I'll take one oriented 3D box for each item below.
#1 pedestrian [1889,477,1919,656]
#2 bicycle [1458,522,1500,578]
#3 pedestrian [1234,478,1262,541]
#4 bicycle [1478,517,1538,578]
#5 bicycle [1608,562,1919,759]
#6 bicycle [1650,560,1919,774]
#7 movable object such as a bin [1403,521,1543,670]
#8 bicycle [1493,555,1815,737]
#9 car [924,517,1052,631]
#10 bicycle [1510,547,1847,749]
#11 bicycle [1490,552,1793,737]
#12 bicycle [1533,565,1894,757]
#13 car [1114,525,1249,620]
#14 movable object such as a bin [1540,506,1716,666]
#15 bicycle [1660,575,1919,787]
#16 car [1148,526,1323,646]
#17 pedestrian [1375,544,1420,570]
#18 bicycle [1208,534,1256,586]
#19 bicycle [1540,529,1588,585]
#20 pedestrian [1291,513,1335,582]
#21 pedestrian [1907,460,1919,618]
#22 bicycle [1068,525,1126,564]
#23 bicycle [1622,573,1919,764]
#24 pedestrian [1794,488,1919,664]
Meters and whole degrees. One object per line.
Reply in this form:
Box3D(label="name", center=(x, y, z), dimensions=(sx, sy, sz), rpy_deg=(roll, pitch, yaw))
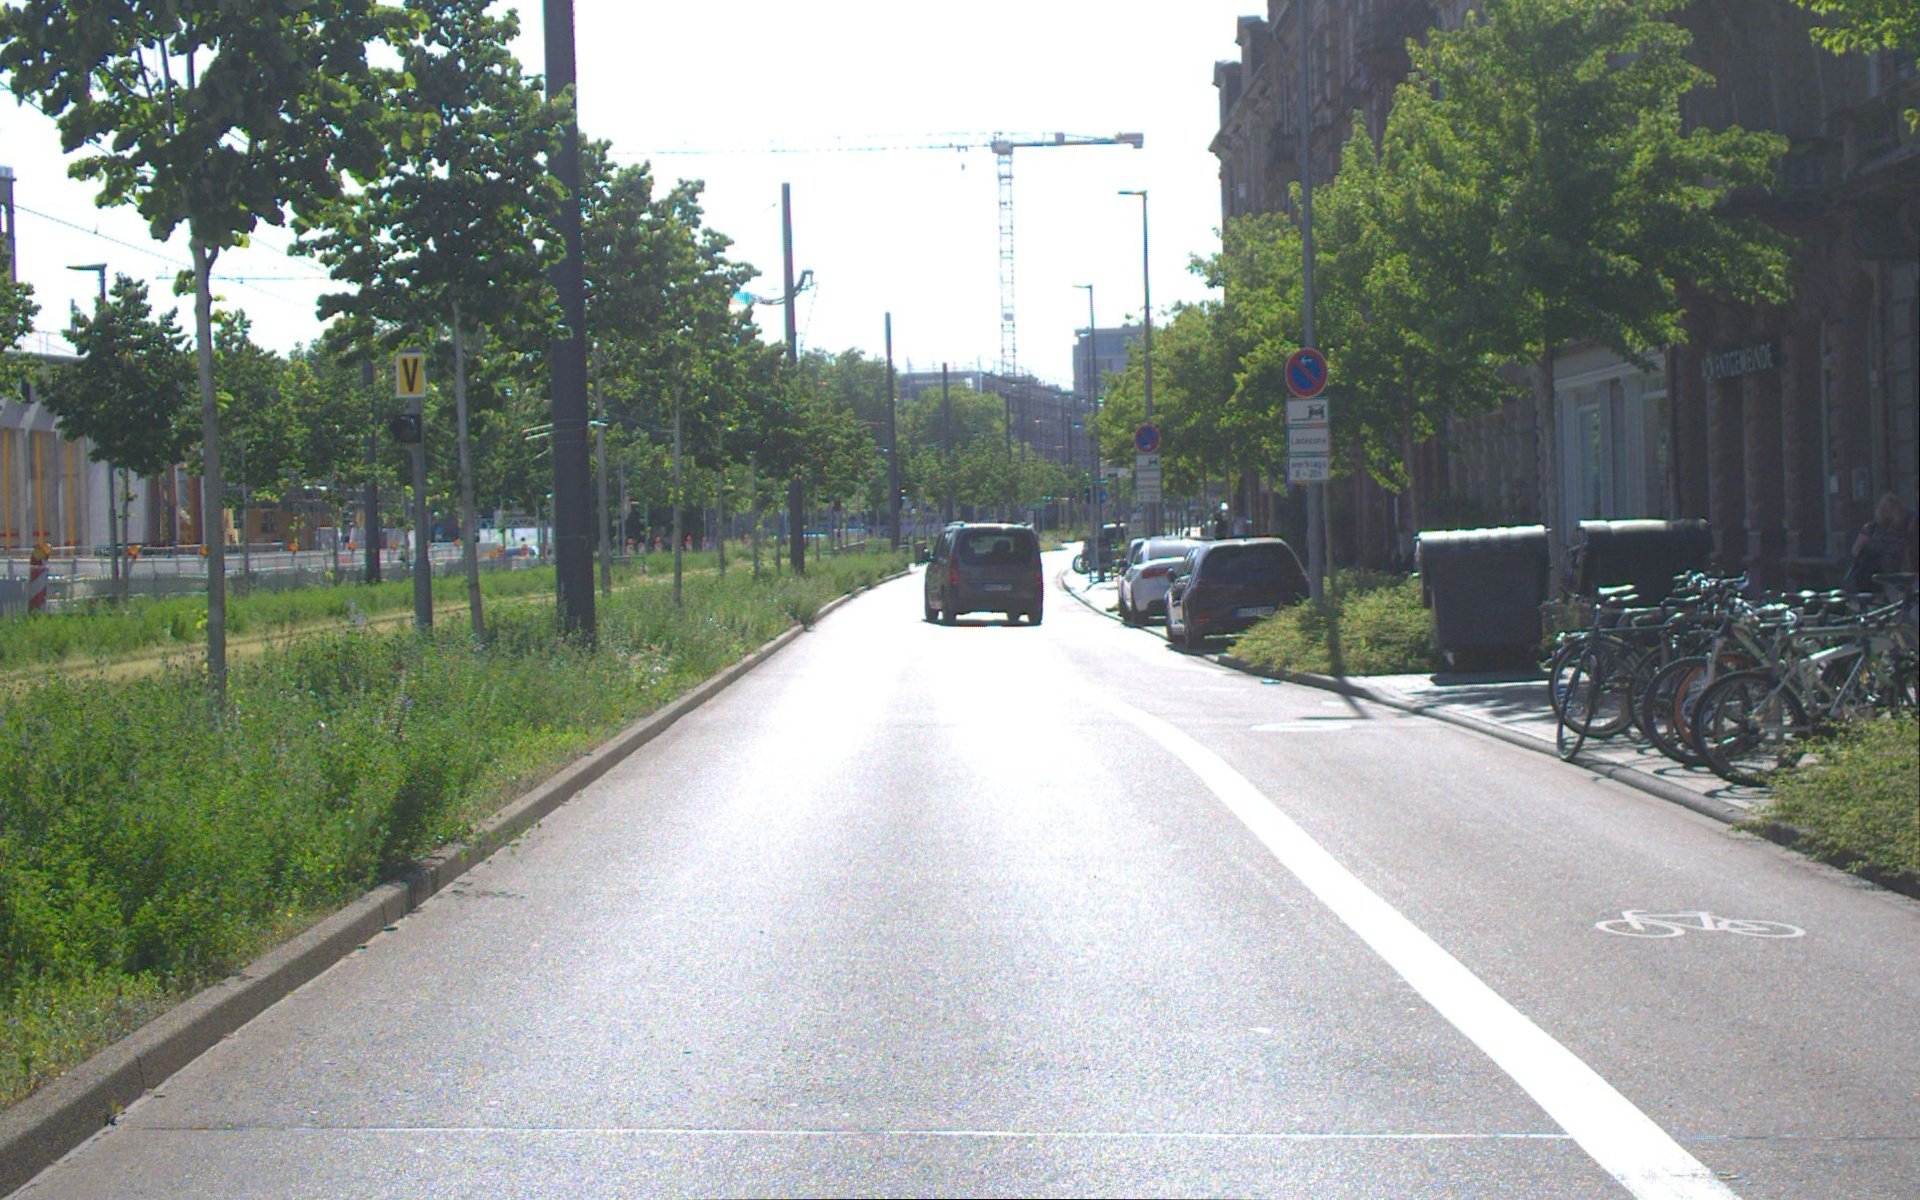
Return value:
Box3D(label="pedestrian", center=(9.296, -0.337, 31.992), dimensions=(0.971, 1.633, 0.992), rpy_deg=(-3, 2, 0))
Box3D(label="bicycle", center=(10.314, -1.001, 68.372), dimensions=(0.481, 1.086, 2.057), rpy_deg=(-2, 1, 0))
Box3D(label="pedestrian", center=(9.509, -2.985, 113.629), dimensions=(0.817, 2.007, 1.046), rpy_deg=(0, -1, 0))
Box3D(label="bicycle", center=(10.186, -0.978, 63.963), dimensions=(0.721, 1.086, 2.198), rpy_deg=(-2, 1, 0))
Box3D(label="bicycle", center=(5.090, 0.372, 21.398), dimensions=(1.977, 1.104, 0.435), rpy_deg=(-3, 1, -3))
Box3D(label="bicycle", center=(4.989, 0.379, 19.936), dimensions=(1.866, 1.175, 0.374), rpy_deg=(-2, 1, -3))
Box3D(label="movable object such as a bin", center=(5.150, -0.045, 34.642), dimensions=(1.271, 1.458, 1.643), rpy_deg=(0, 0, 5))
Box3D(label="bicycle", center=(4.837, 0.311, 23.992), dimensions=(2.043, 1.103, 0.611), rpy_deg=(-4, 1, -6))
Box3D(label="car", center=(0.471, -0.479, 62.568), dimensions=(1.993, 2.007, 4.001), rpy_deg=(0, 1, -4))
Box3D(label="bicycle", center=(4.791, 0.308, 22.908), dimensions=(2.146, 1.150, 0.429), rpy_deg=(-5, 1, -13))
Box3D(label="bicycle", center=(4.829, 0.309, 24.400), dimensions=(1.974, 1.120, 0.482), rpy_deg=(-5, 2, -5))
Box3D(label="bicycle", center=(4.951, 0.387, 22.568), dimensions=(2.284, 1.098, 0.486), rpy_deg=(-4, 1, -14))
Box3D(label="car", center=(3.831, -0.508, 60.231), dimensions=(1.951, 1.490, 5.105), rpy_deg=(-3, 1, 0))
Box3D(label="movable object such as a bin", center=(6.745, -0.151, 34.810), dimensions=(1.373, 1.490, 1.749), rpy_deg=(-4, 0, 1))
Box3D(label="bicycle", center=(5.014, 0.441, 19.583), dimensions=(1.891, 1.105, 0.518), rpy_deg=(-3, 1, -5))
Box3D(label="car", center=(3.752, -0.204, 47.526), dimensions=(1.765, 1.472, 4.449), rpy_deg=(-4, 1, -3))
Box3D(label="pedestrian", center=(10.284, -1.014, 80.793), dimensions=(0.773, 0.551, 2.008), rpy_deg=(-2, 2, 0))
Box3D(label="bicycle", center=(6.077, -0.900, 76.821), dimensions=(0.650, 1.116, 2.173), rpy_deg=(-3, 1, -6))
Box3D(label="bicycle", center=(10.439, -0.752, 59.446), dimensions=(0.447, 0.941, 2.013), rpy_deg=(-1, 1, 0))
Box3D(label="pedestrian", center=(8.819, -1.313, 85.994), dimensions=(0.996, 1.725, 0.866), rpy_deg=(0, 0, 0))
Box3D(label="pedestrian", center=(6.438, -0.040, 21.353), dimensions=(0.900, 1.730, 0.849), rpy_deg=(-5, 1, 18))
Box3D(label="bicycle", center=(4.685, -1.896, 117.586), dimensions=(1.878, 1.229, 0.500), rpy_deg=(-4, 1, -5))
Box3D(label="bicycle", center=(5.049, 0.410, 21.055), dimensions=(1.814, 1.052, 0.572), rpy_deg=(-3, 1, -6))
Box3D(label="pedestrian", center=(8.343, -0.235, 31.769), dimensions=(0.950, 1.561, 1.080), rpy_deg=(-2, 2, 0))
